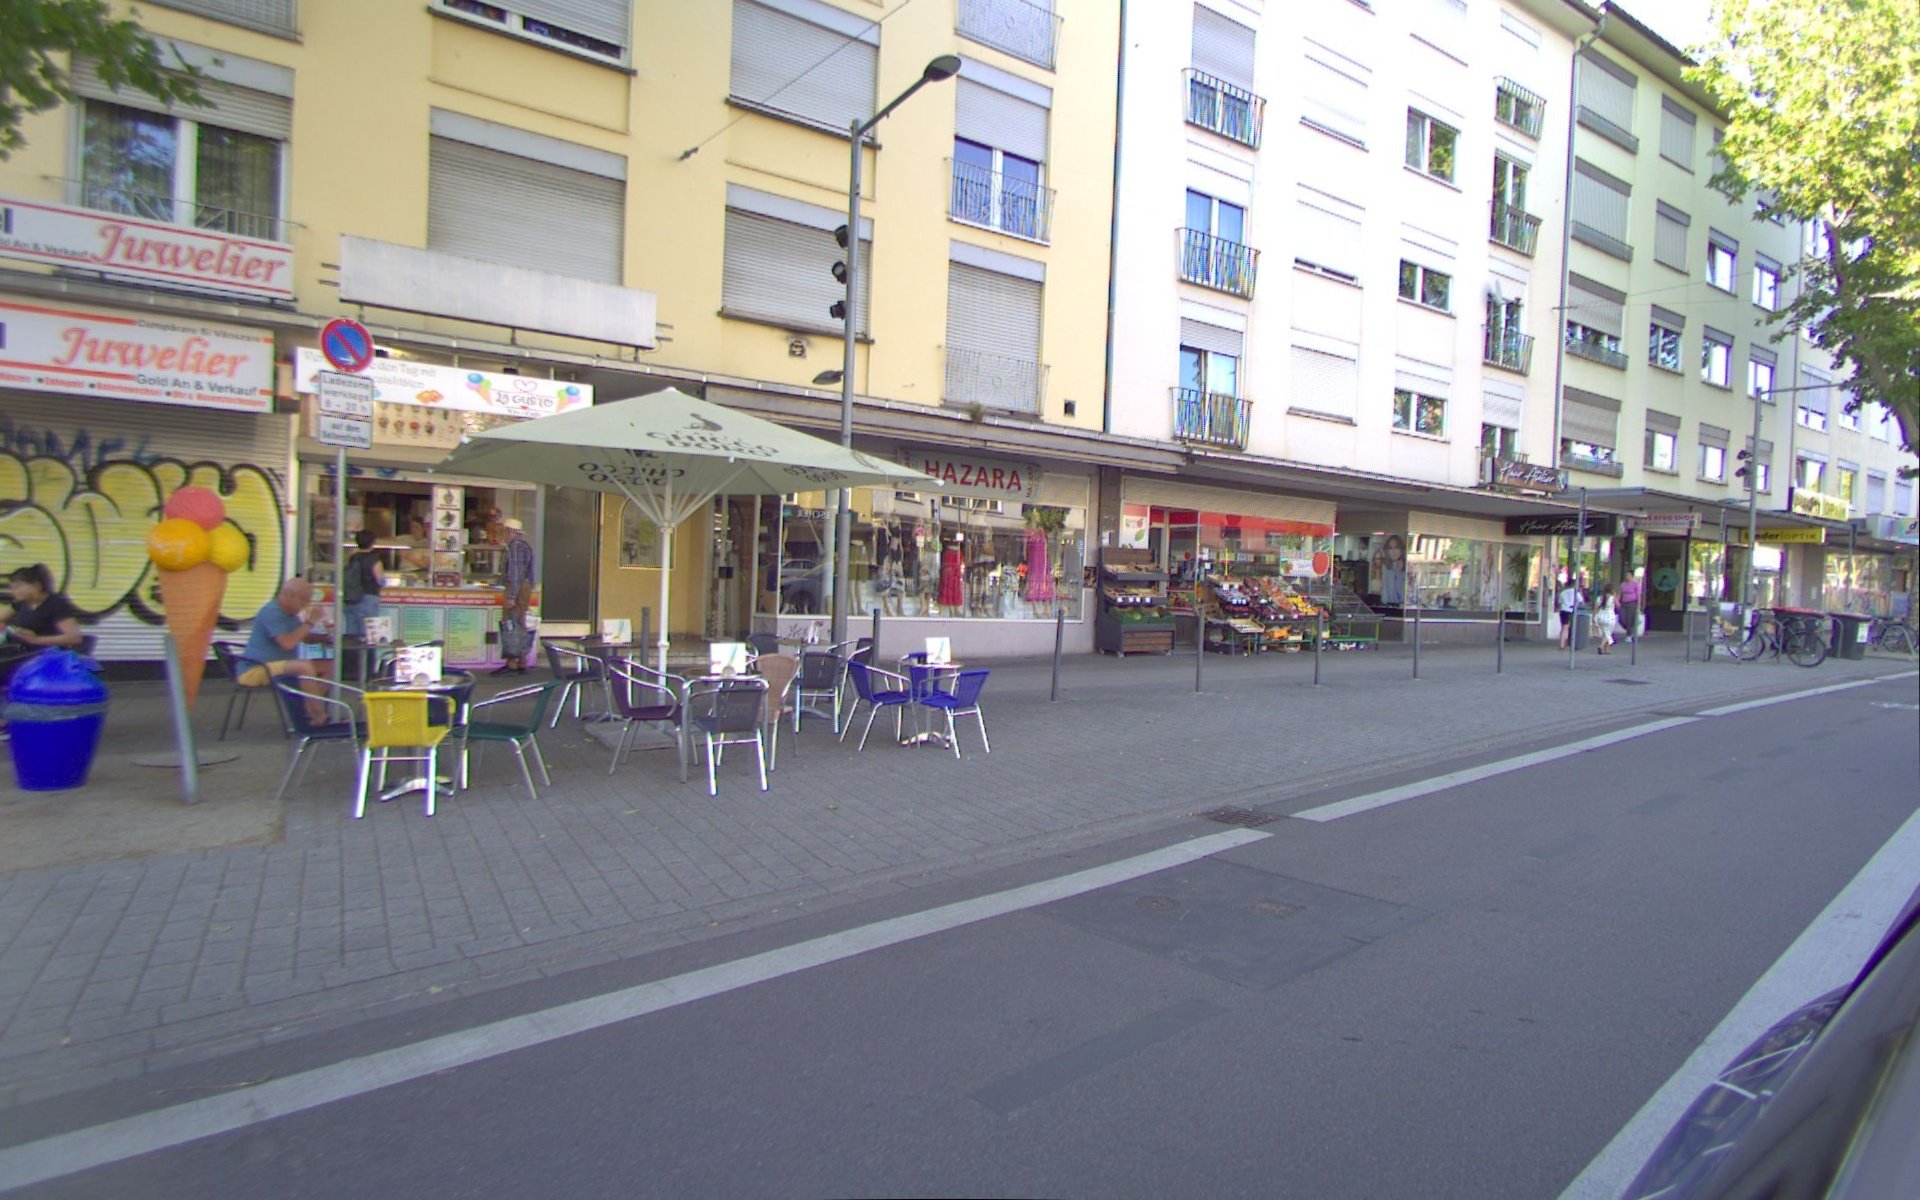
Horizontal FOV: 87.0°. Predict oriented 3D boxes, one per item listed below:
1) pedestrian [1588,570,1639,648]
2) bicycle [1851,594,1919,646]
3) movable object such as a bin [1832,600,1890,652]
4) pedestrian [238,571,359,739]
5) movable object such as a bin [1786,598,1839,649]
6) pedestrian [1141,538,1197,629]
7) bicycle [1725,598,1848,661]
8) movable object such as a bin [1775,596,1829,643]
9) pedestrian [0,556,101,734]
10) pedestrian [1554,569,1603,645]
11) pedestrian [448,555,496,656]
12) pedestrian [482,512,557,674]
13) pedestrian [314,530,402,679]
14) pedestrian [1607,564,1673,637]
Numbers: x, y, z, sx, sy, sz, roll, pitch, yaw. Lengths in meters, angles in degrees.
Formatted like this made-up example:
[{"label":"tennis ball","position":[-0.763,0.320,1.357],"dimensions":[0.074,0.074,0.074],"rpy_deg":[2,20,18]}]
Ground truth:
[{"label":"pedestrian","position":[14.014,0.184,21.722],"dimensions":[0.615,1.605,0.638],"rpy_deg":[0,4,-34]},{"label":"bicycle","position":[22.742,0.484,24.407],"dimensions":[0.731,1.130,1.725],"rpy_deg":[-4,4,-32]},{"label":"movable object such as a bin","position":[20.788,0.592,23.352],"dimensions":[0.631,1.115,0.726],"rpy_deg":[0,5,-26]},{"label":"pedestrian","position":[-5.213,0.401,7.973],"dimensions":[0.732,1.240,0.607],"rpy_deg":[0,1,-40]},{"label":"movable object such as a bin","position":[20.221,0.545,24.004],"dimensions":[0.632,1.084,0.725],"rpy_deg":[0,7,-35]},{"label":"pedestrian","position":[4.173,-0.332,20.198],"dimensions":[0.864,1.766,0.686],"rpy_deg":[0,0,-37]},{"label":"bicycle","position":[17.390,0.599,21.350],"dimensions":[0.507,1.118,1.918],"rpy_deg":[1,4,-26]},{"label":"movable object such as a bin","position":[20.598,0.477,24.779],"dimensions":[0.630,1.085,0.726],"rpy_deg":[1,3,-15]},{"label":"pedestrian","position":[-7.002,0.322,7.661],"dimensions":[0.745,1.291,0.584],"rpy_deg":[0,0,-40]},{"label":"pedestrian","position":[13.548,0.141,22.155],"dimensions":[0.615,1.605,0.624],"rpy_deg":[0,4,-34]},{"label":"pedestrian","position":[-6.476,0.066,13.436],"dimensions":[0.498,1.312,0.427],"rpy_deg":[0,2,-36]},{"label":"pedestrian","position":[-5.135,-0.091,11.817],"dimensions":[0.614,1.826,0.638],"rpy_deg":[1,1,-4]},{"label":"pedestrian","position":[-6.572,0.040,11.084],"dimensions":[0.624,1.564,0.628],"rpy_deg":[1,5,-9]},{"label":"pedestrian","position":[17.227,-0.007,25.647],"dimensions":[1.111,1.784,0.972],"rpy_deg":[0,3,-32]}]
